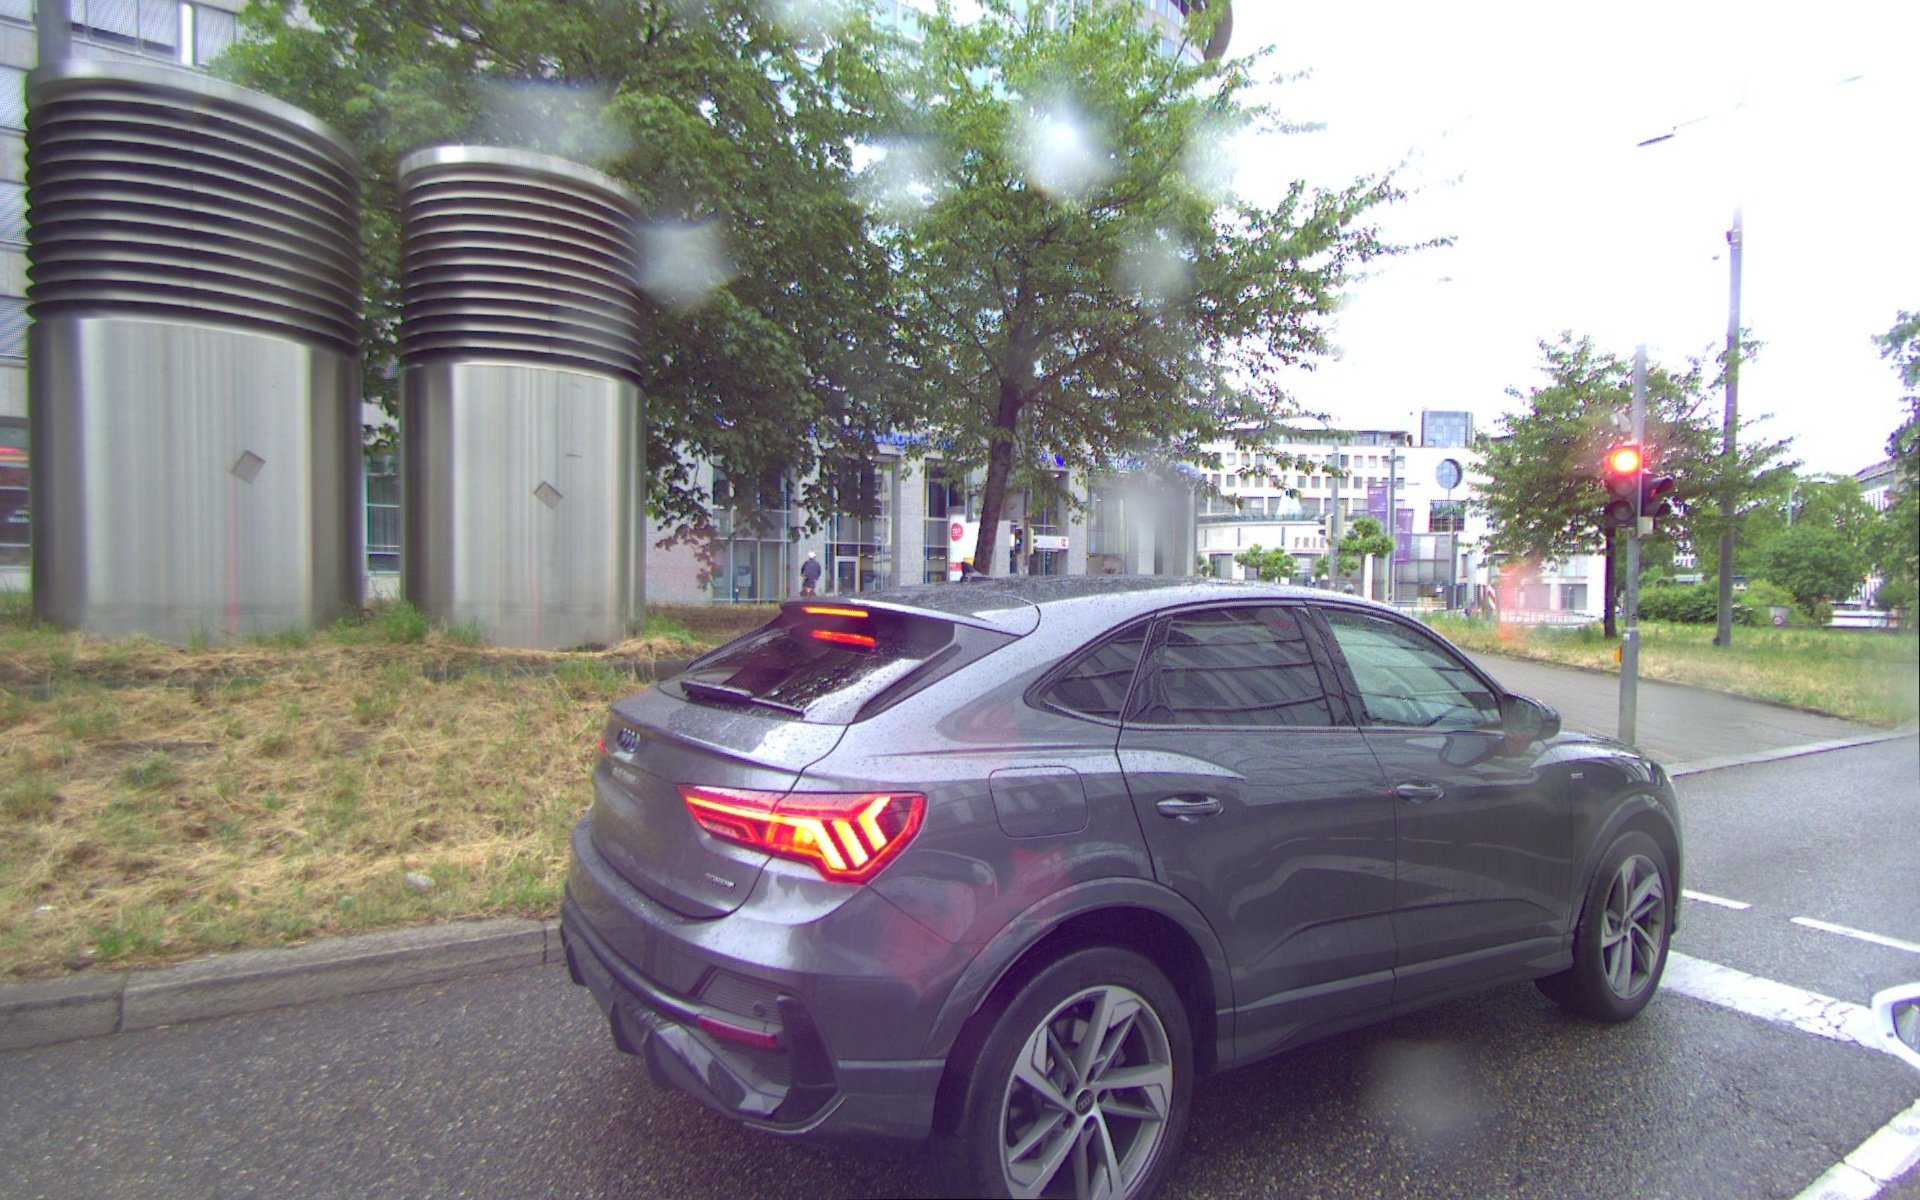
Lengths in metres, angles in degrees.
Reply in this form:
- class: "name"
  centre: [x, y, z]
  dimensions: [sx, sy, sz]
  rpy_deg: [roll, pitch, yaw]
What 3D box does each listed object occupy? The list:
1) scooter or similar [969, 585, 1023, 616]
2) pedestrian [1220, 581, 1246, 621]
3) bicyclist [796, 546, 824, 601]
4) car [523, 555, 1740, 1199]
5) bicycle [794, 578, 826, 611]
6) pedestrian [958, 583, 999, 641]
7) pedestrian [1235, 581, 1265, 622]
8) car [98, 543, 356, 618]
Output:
- class: "scooter or similar"
  centre: [1.488, 0.029, 41.315]
  dimensions: [2.226, 1.229, 0.767]
  rpy_deg: [1, 1, -38]
- class: "pedestrian"
  centre: [13.877, 0.052, 51.098]
  dimensions: [0.840, 2.040, 1.029]
  rpy_deg: [2, 0, 43]
- class: "bicyclist"
  centre: [-4.866, -0.847, 32.630]
  dimensions: [0.724, 1.764, 1.041]
  rpy_deg: [1, 0, -1]
- class: "car"
  centre: [0.884, 0.714, 3.682]
  dimensions: [4.300, 1.538, 1.849]
  rpy_deg: [1, 1, -34]
- class: "bicycle"
  centre: [-4.876, -0.170, 32.706]
  dimensions: [0.732, 1.020, 1.934]
  rpy_deg: [1, 0, -1]
- class: "pedestrian"
  centre: [0.628, 0.390, 33.502]
  dimensions: [0.946, 1.906, 0.927]
  rpy_deg: [2, 0, 44]
- class: "pedestrian"
  centre: [14.546, 0.069, 50.370]
  dimensions: [1.041, 2.040, 1.029]
  rpy_deg: [2, 0, 44]
- class: "car"
  centre: [-15.432, -0.380, 21.360]
  dimensions: [4.282, 1.404, 1.662]
  rpy_deg: [1, 3, -38]
